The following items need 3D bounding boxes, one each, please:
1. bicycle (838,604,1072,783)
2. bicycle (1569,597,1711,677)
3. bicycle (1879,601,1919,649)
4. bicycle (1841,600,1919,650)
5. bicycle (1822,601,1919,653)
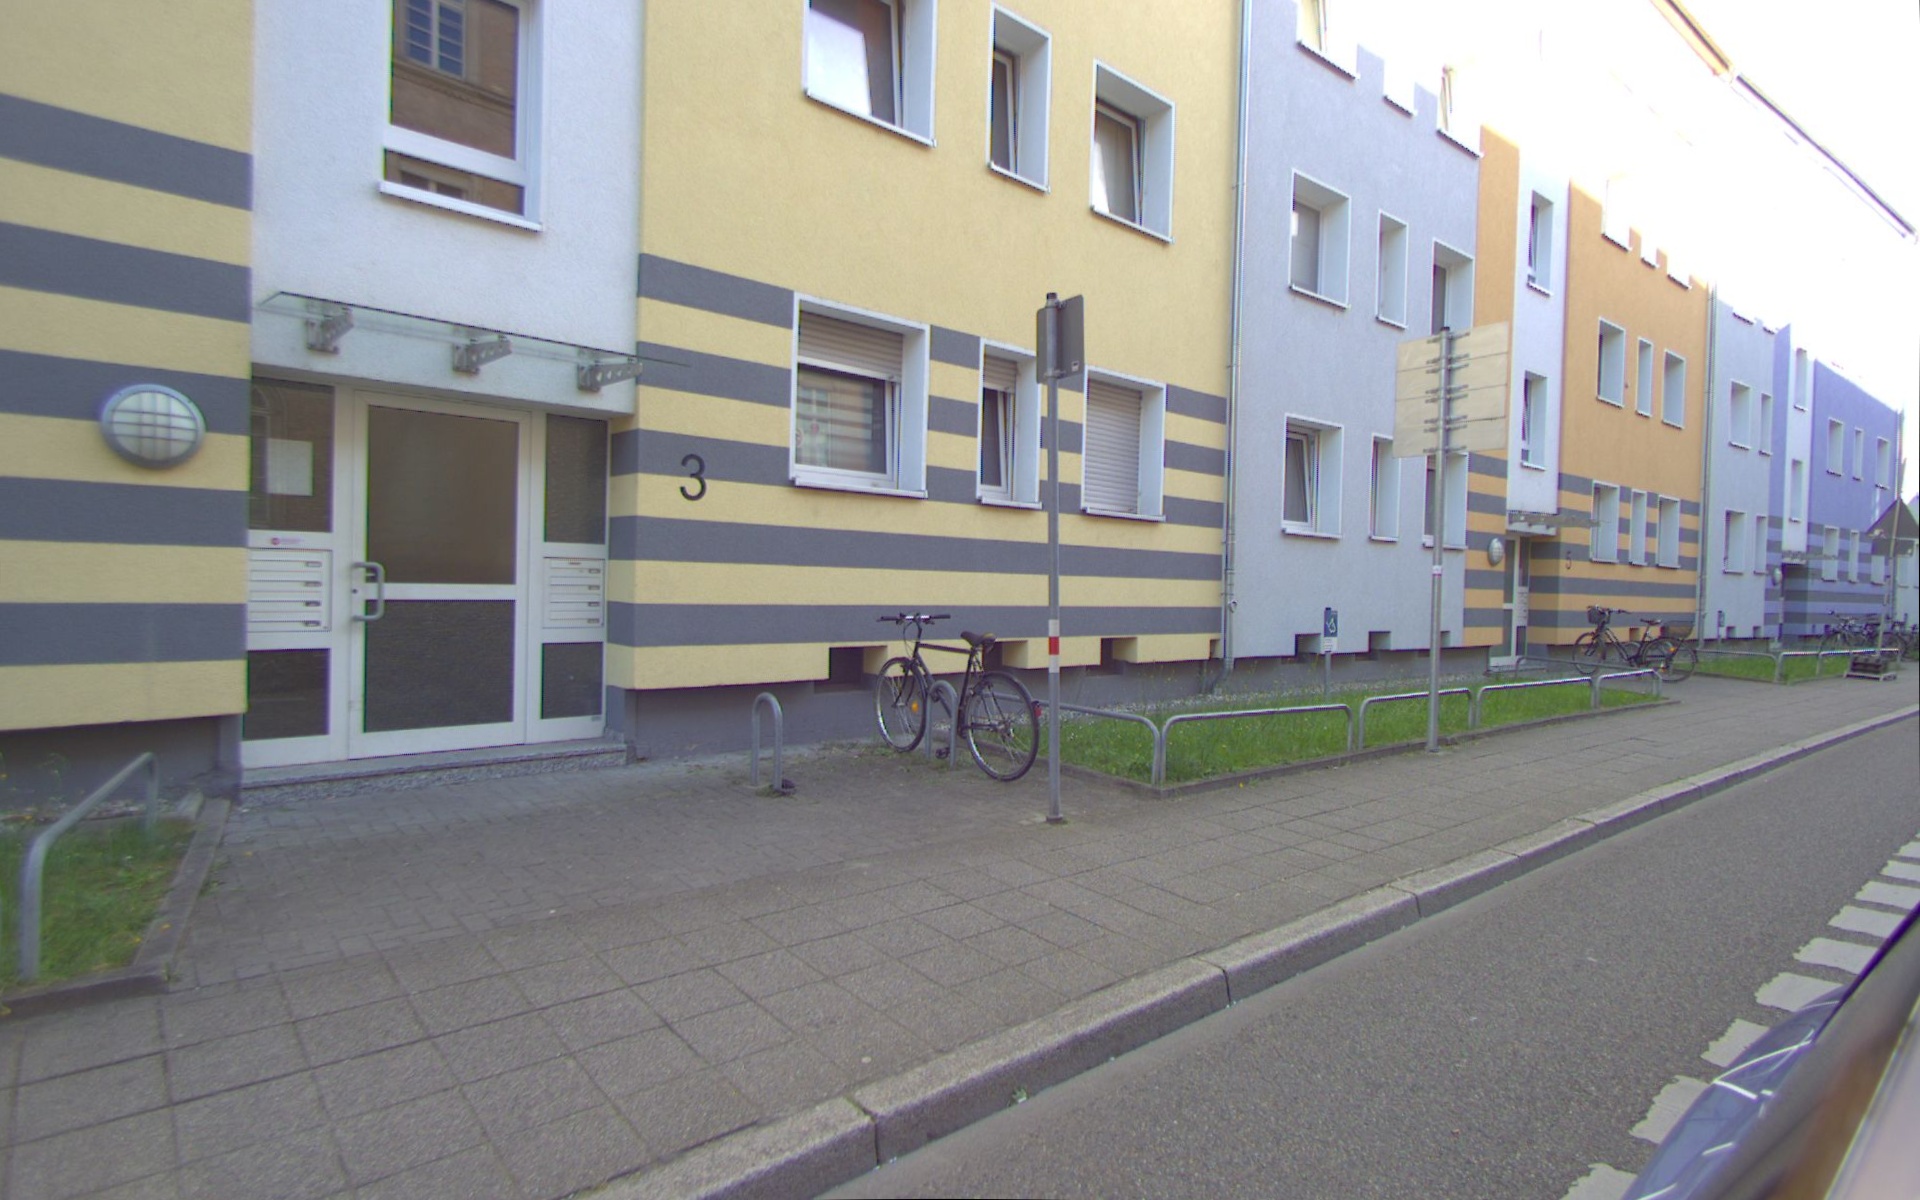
[{"bbox_3d":[-0.087,0.577,7.005,1.775,1.031,0.476,3,1,44],"label":"bicycle"},{"bbox_3d":[10.674,0.547,15.933,1.775,1.137,0.476,3,1,44],"label":"bicycle"},{"bbox_3d":[24.122,0.635,25.266,0.475,1.166,1.678,1,1,-37],"label":"bicycle"},{"bbox_3d":[23.294,0.624,25.409,0.475,1.166,1.678,1,1,-37],"label":"bicycle"},{"bbox_3d":[22.213,0.641,24.717,0.475,1.166,1.678,1,1,-37],"label":"bicycle"}]
